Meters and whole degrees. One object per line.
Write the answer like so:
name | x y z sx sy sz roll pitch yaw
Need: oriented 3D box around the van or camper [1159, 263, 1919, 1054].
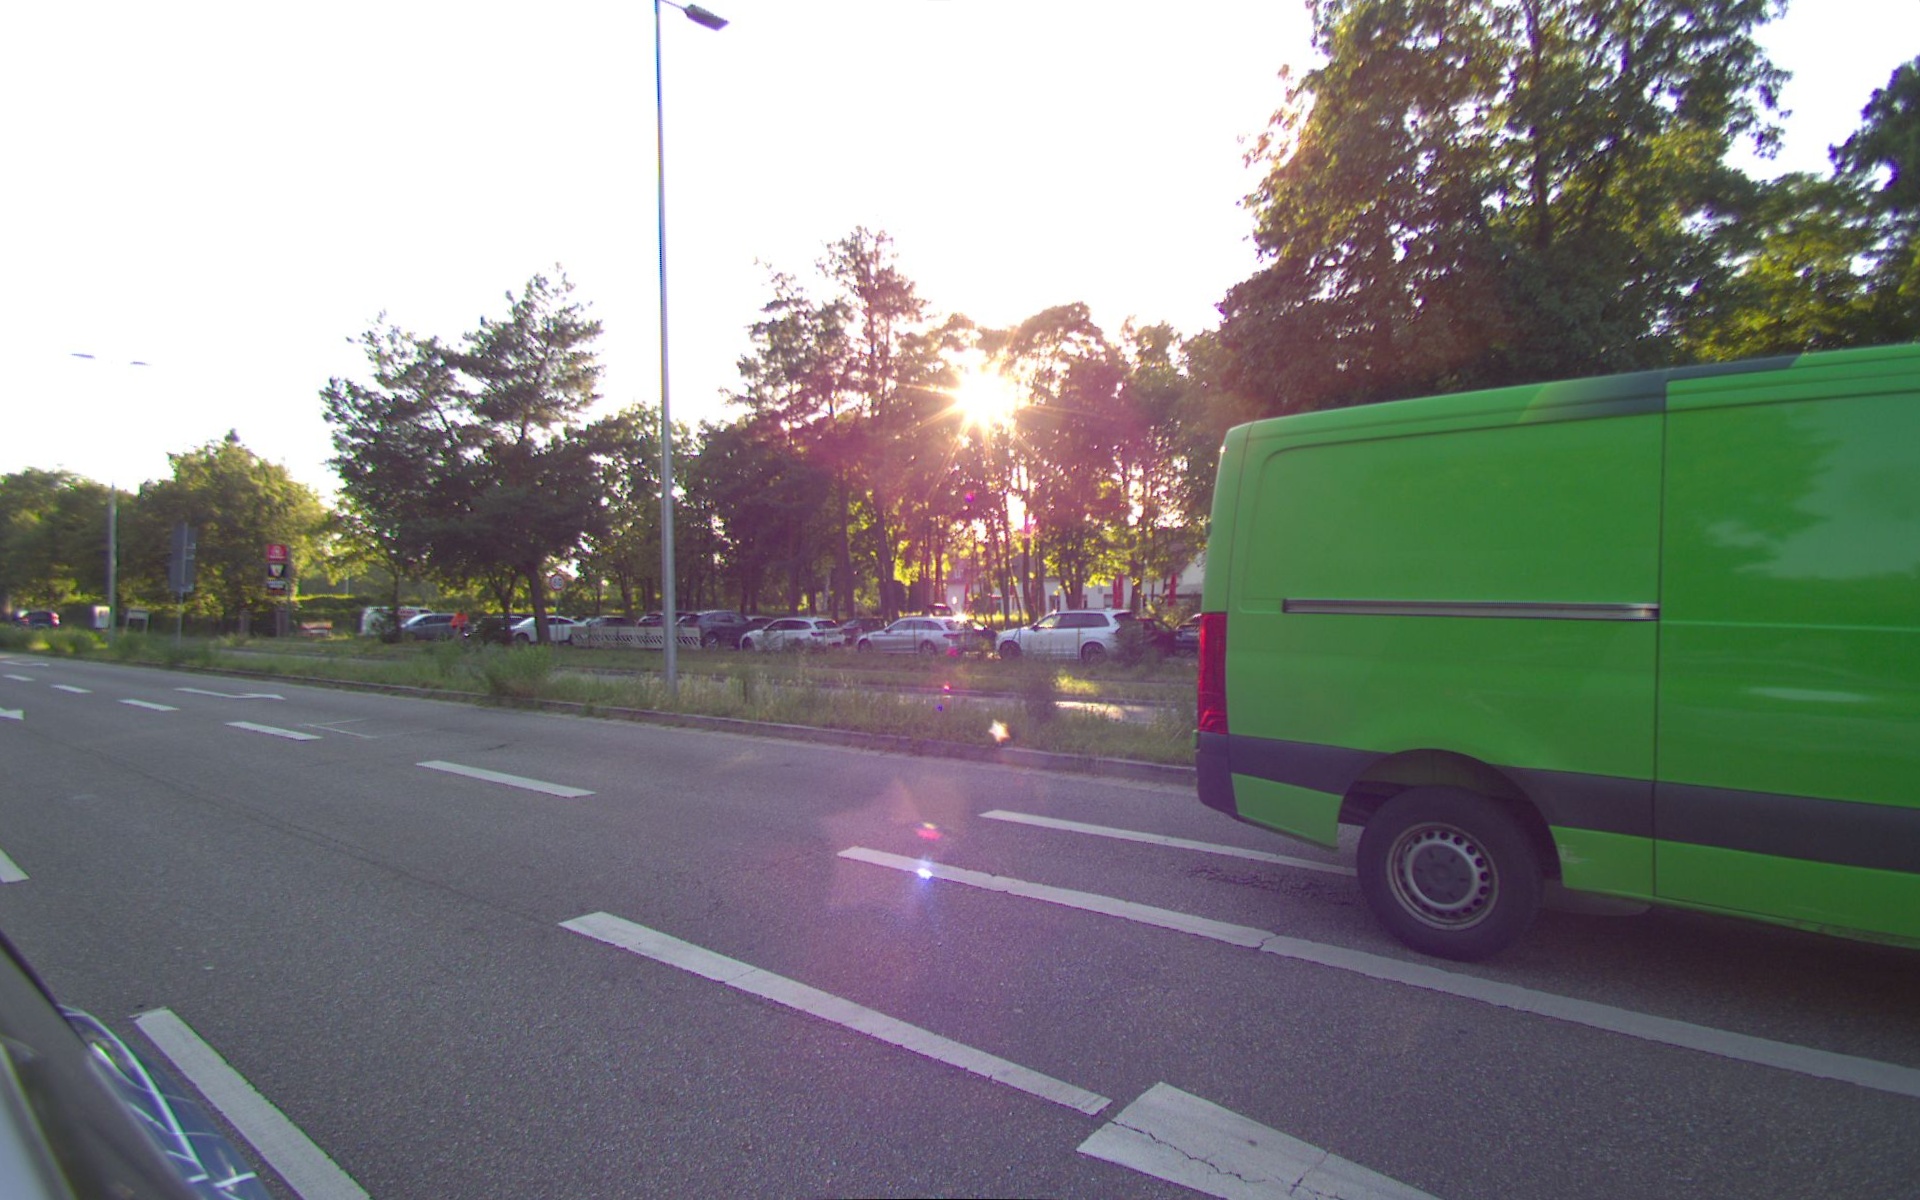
van or camper | 3.833 0.186 3.681 5.890 2.439 1.974 -1 -2 40

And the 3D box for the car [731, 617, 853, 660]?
car | -6.538 1.467 39.255 4.701 1.560 1.975 -1 -2 37

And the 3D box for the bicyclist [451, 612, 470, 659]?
bicyclist | -20.621 1.464 41.780 0.616 1.888 0.454 -1 -2 34

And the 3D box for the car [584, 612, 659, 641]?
car | -20.426 1.607 61.201 1.765 1.663 3.947 -1 -2 40

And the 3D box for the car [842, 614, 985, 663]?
car | -1.680 1.325 35.552 4.913 1.619 1.975 -1 -2 37

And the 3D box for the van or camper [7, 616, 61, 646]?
van or camper | -65.682 2.176 71.770 4.570 2.029 1.975 -1 -2 37

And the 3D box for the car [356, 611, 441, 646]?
car | -32.475 1.634 58.626 1.764 1.959 3.949 -1 -2 38

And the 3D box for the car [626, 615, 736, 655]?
car | -12.010 1.483 43.872 1.769 1.629 4.470 -1 -2 37

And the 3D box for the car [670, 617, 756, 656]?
car | -10.077 1.472 41.345 1.657 1.538 3.060 -1 -2 38

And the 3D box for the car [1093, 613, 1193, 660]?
car | 6.889 1.339 37.805 1.918 1.663 3.944 -1 -2 42

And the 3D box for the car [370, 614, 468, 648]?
car | -30.209 1.717 56.593 1.907 1.811 4.443 -1 -2 38

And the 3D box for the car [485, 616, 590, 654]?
car | -20.735 1.710 49.807 1.908 1.767 4.441 -1 -2 39

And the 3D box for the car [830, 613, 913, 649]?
car | -4.252 1.510 49.007 1.765 1.663 3.947 -1 -2 39

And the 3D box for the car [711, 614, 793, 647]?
car | -10.833 1.596 52.910 1.765 1.663 3.947 -1 -2 40

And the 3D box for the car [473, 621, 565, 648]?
car | -22.258 1.720 51.187 1.731 1.322 3.947 -1 -2 39

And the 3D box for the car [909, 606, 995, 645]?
car | -0.318 1.152 45.072 1.765 1.663 3.947 -1 -2 39

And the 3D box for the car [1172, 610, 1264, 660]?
car | 9.066 1.195 35.402 1.914 1.663 3.954 -1 -2 34

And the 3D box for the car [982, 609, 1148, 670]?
car | 3.239 1.204 31.765 4.913 1.800 1.975 -1 -2 37

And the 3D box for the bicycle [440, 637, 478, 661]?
bicycle | -20.716 2.022 41.829 2.039 0.940 0.487 -1 -2 35

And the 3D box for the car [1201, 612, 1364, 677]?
car | 8.637 1.159 27.208 3.807 1.609 1.838 -1 -2 36
